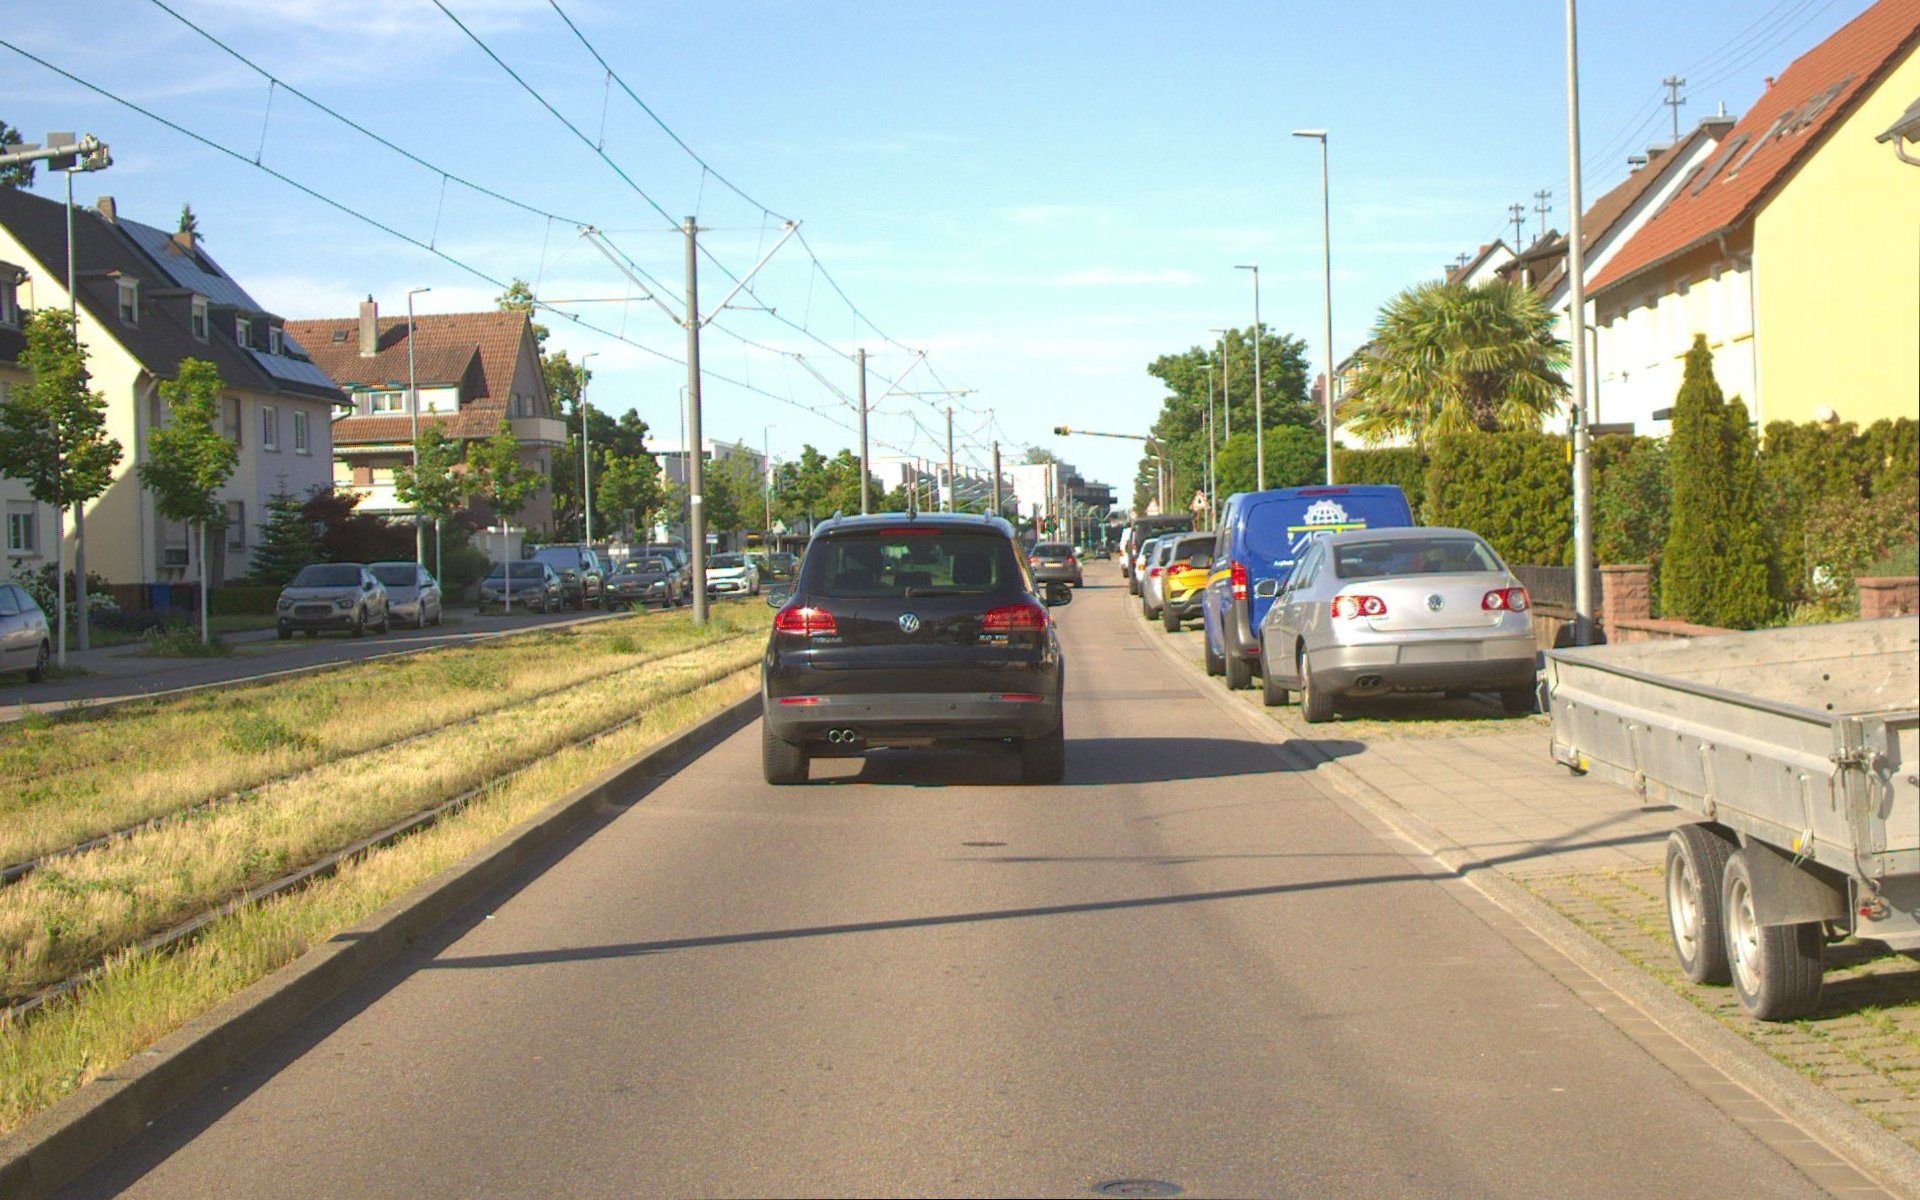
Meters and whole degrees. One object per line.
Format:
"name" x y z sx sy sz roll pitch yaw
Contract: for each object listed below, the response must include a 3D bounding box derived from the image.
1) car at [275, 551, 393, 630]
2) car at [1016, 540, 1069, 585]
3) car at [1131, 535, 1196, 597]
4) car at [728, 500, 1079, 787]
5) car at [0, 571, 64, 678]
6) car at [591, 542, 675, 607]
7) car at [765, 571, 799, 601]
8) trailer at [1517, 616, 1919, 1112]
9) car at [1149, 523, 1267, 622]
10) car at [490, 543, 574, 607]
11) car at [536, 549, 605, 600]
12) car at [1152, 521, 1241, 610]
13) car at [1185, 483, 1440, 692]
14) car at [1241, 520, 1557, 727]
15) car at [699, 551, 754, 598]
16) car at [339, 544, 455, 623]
"car" -12.622 -0.206 69.513 1.659 1.491 3.579 -2 1 1
"car" 2.650 -1.212 110.647 1.572 1.386 3.614 -2 1 0
"car" 5.060 -0.862 85.800 1.442 1.472 3.864 -2 1 2
"car" -0.467 0.236 22.141 1.811 1.665 4.258 0 0 -7
"car" -13.422 0.358 46.386 1.618 1.404 3.717 -2 -1 1
"car" -8.989 -0.678 94.734 1.873 1.649 4.000 -2 -1 0
"car" -8.984 -0.692 173.496 1.465 1.449 3.217 -2 0 0
"trailer" 3.267 0.659 10.884 2.204 1.090 4.372 -3 1 -1
"car" 4.022 -0.458 56.170 1.645 1.529 3.864 -2 1 0
"car" -11.401 -0.651 91.689 1.660 1.575 4.000 -2 -1 1
"car" -11.042 -0.744 97.604 1.515 1.357 3.590 -2 1 0
"car" 4.333 -0.658 63.355 1.451 1.546 3.829 -2 1 2
"car" 3.398 -0.161 34.004 1.993 1.855 4.917 -2 1 0
"car" 3.425 0.137 27.633 1.786 1.436 4.460 -3 1 -1
"car" -7.435 -0.804 109.617 1.465 1.449 3.287 -2 0 0
"car" -12.351 -0.385 75.668 1.803 1.626 4.000 -2 1 1
